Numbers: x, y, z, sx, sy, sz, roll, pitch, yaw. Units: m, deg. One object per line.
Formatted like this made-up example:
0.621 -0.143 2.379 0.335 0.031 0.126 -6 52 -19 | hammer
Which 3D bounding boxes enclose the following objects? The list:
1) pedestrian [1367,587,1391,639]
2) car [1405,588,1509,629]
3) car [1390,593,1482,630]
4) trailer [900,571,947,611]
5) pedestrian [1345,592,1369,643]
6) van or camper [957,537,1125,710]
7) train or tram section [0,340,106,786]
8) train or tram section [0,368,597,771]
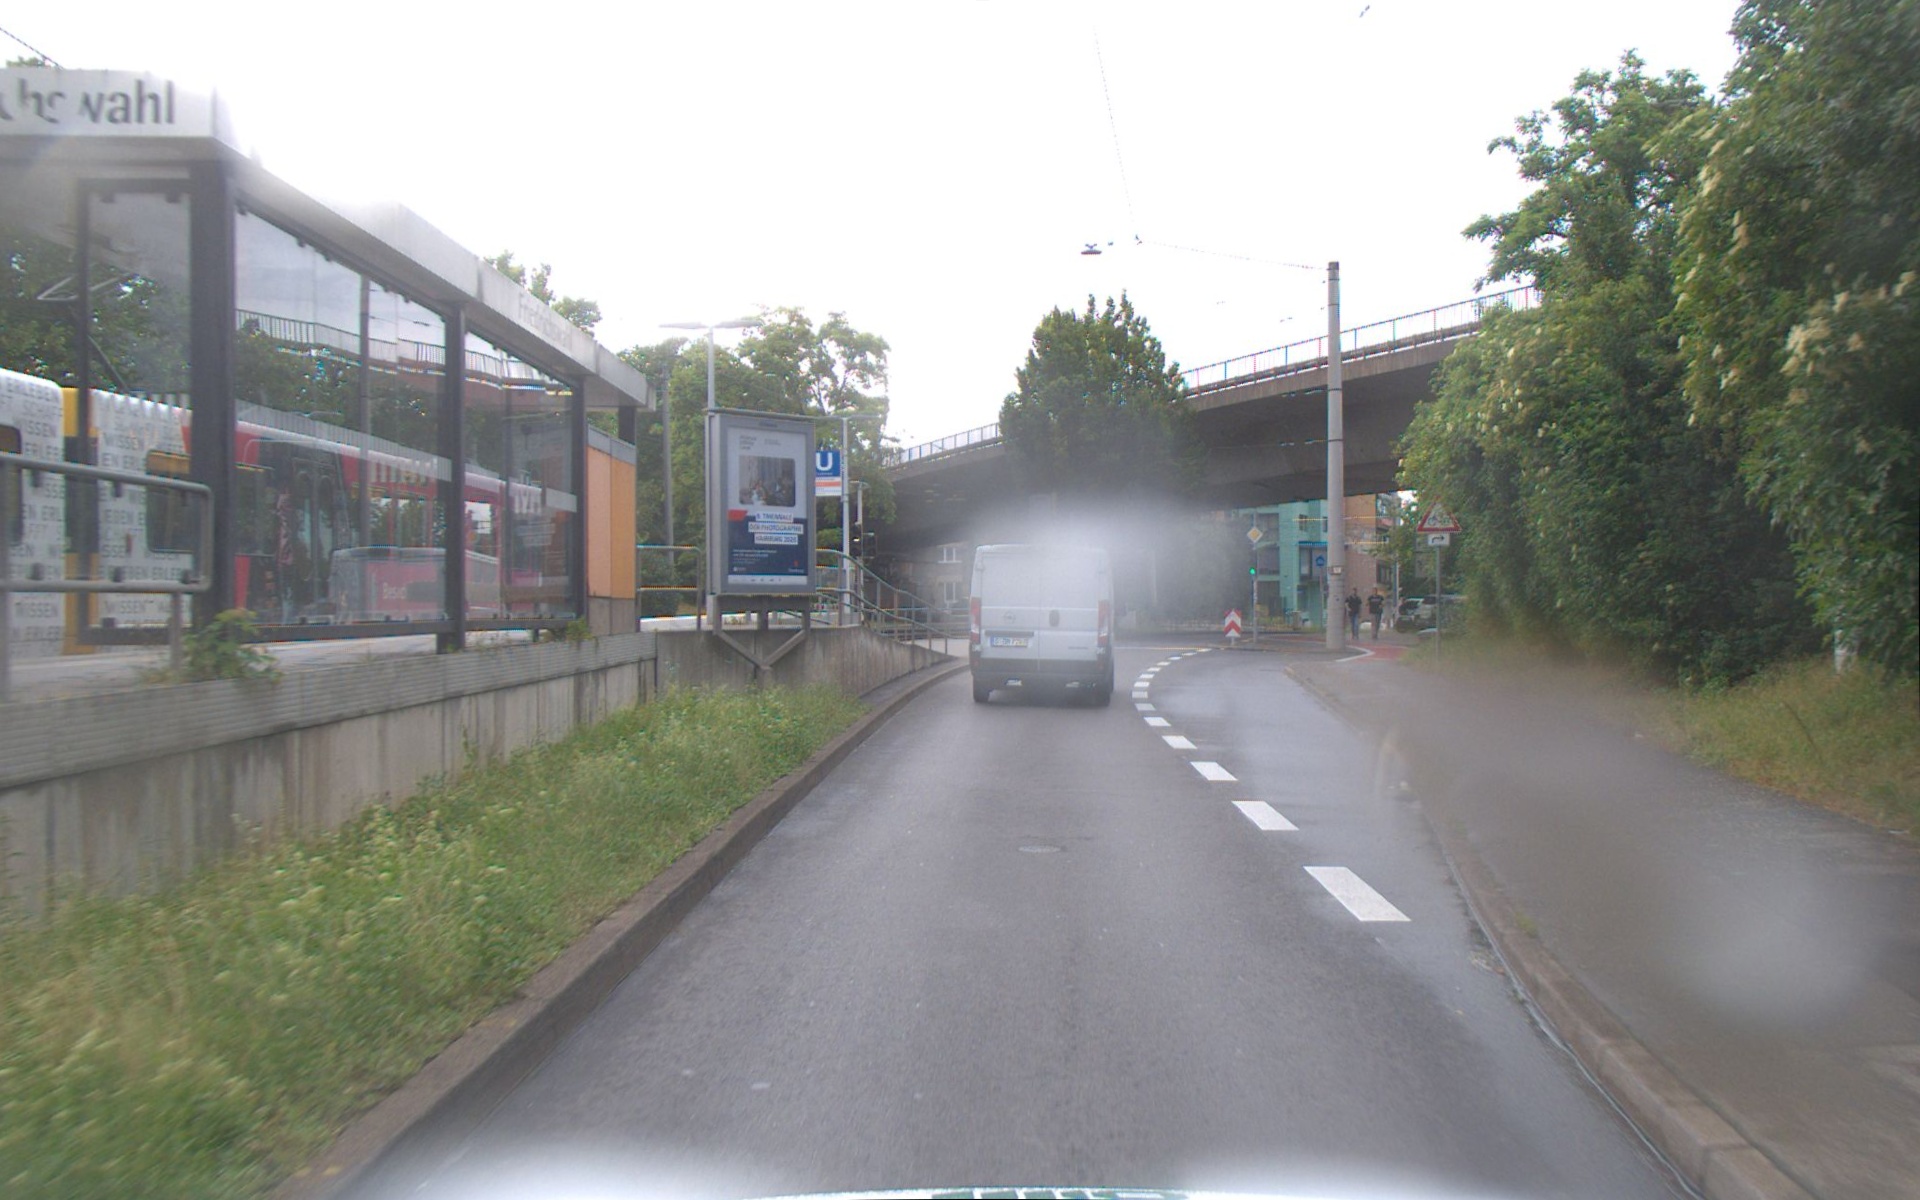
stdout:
15.293 0.467 60.441 0.585 1.854 0.909 2 -1 0 | pedestrian
20.797 0.368 69.232 3.963 1.659 1.950 1 -1 -27 | car
20.692 0.484 71.881 3.680 1.548 1.787 1 -1 -27 | car
-2.655 -0.633 118.475 1.966 2.773 4.095 1 -1 -23 | trailer
14.543 0.649 60.649 0.613 1.840 0.836 2 -1 -1 | pedestrian
1.336 0.352 25.030 2.152 2.292 4.687 2 -1 7 | van or camper
-10.124 -0.466 7.036 2.809 4.040 19.328 2 -1 0 | train or tram section
-9.773 -0.227 26.381 2.808 4.030 19.335 2 -1 2 | train or tram section
